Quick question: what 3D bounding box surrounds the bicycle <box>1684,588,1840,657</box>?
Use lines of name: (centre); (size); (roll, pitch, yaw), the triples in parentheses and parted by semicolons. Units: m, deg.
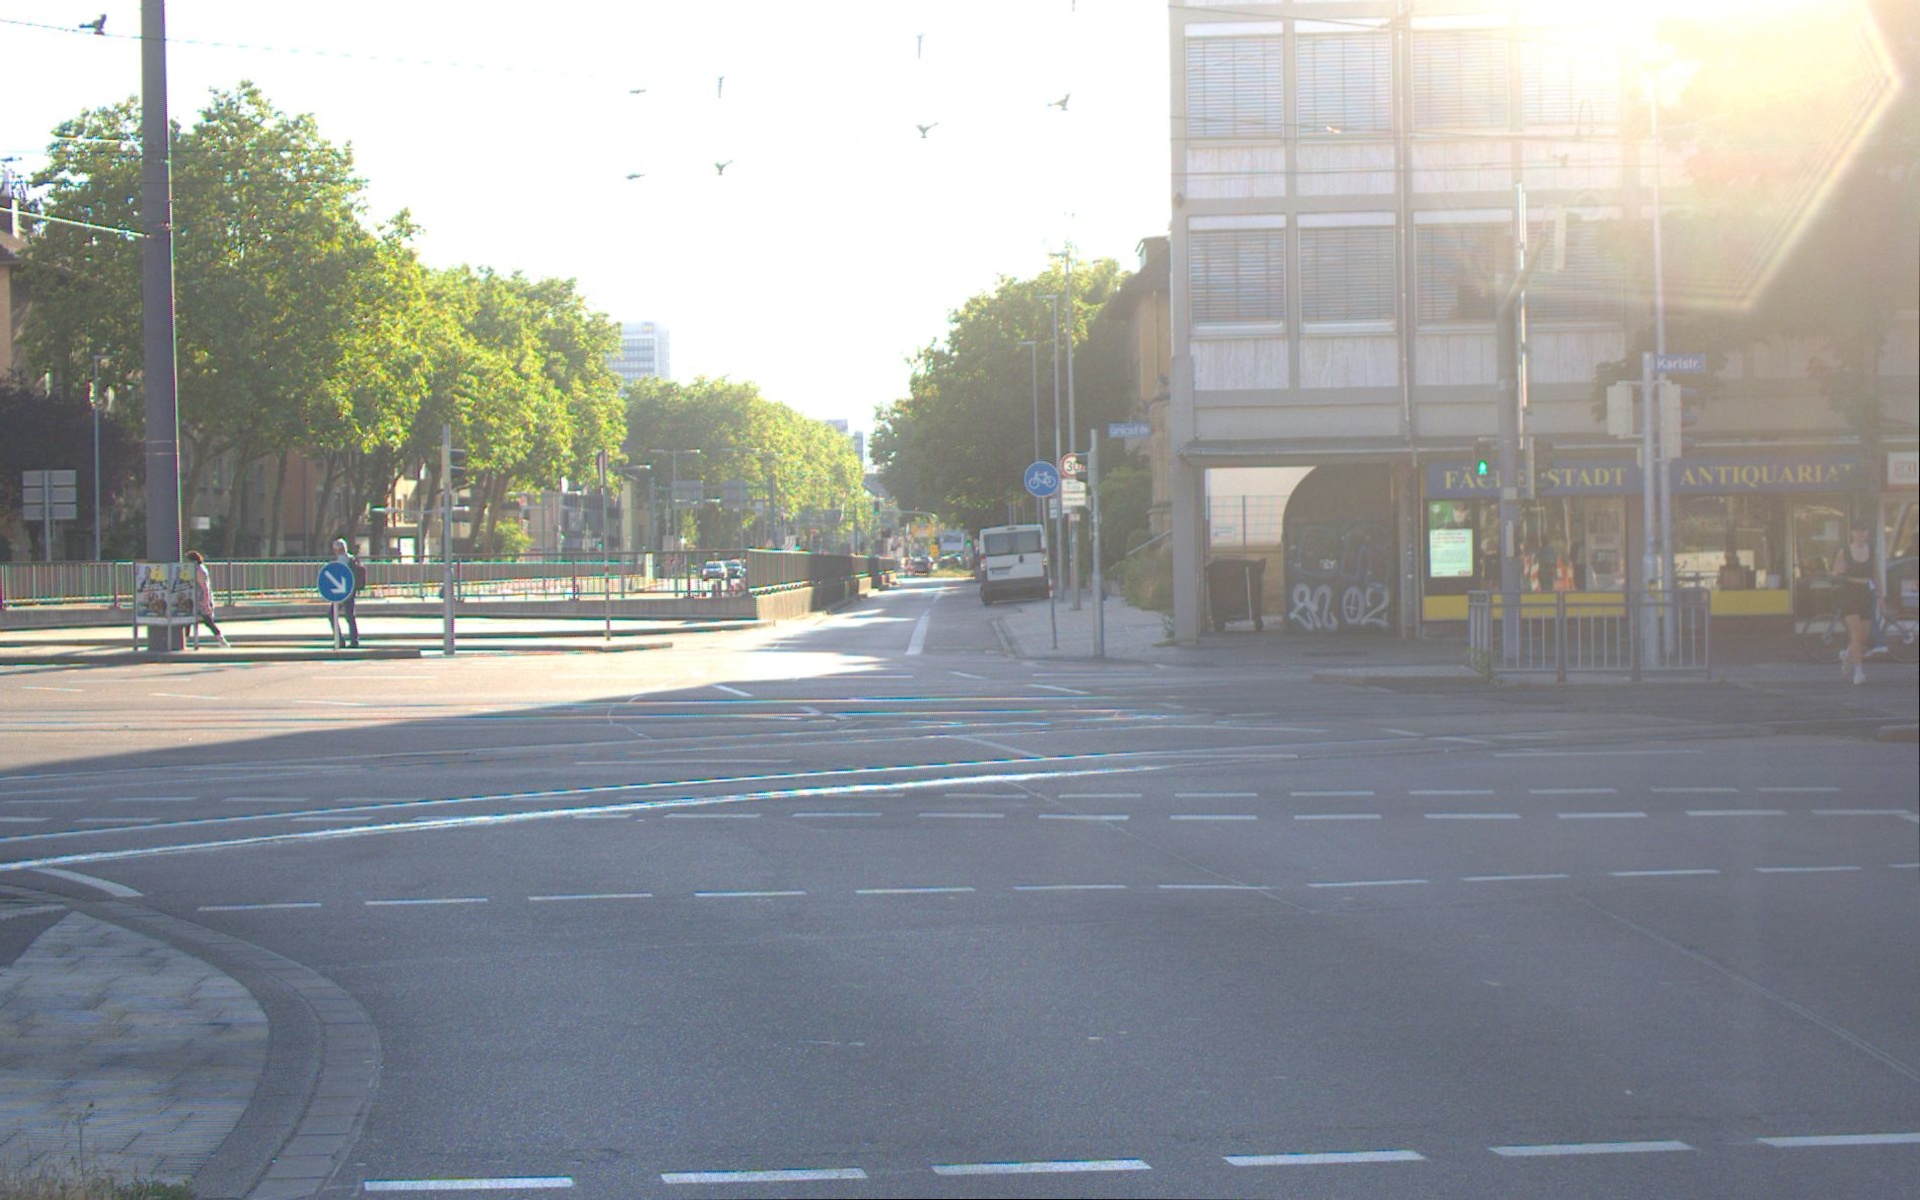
bicycle: (11.244, 0.313, 48.224); (2.024, 0.937, 0.671); (1, 0, -1)

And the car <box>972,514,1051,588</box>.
car: (1.588, -1.464, 103.913); (2.286, 2.165, 4.833); (1, 1, 1)

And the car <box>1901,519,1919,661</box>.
car: (12.898, -0.091, 39.020); (3.987, 1.612, 1.844); (1, 0, 5)

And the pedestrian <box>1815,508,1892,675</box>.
pedestrian: (9.153, -0.087, 35.253); (0.696, 1.676, 1.041); (1, 0, 12)

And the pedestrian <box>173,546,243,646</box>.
pedestrian: (-11.393, -0.053, 52.058); (0.853, 1.460, 0.686); (1, -5, -29)

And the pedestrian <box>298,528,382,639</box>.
pedestrian: (-9.765, -0.265, 54.170); (1.194, 1.725, 0.856); (1, 0, -5)
